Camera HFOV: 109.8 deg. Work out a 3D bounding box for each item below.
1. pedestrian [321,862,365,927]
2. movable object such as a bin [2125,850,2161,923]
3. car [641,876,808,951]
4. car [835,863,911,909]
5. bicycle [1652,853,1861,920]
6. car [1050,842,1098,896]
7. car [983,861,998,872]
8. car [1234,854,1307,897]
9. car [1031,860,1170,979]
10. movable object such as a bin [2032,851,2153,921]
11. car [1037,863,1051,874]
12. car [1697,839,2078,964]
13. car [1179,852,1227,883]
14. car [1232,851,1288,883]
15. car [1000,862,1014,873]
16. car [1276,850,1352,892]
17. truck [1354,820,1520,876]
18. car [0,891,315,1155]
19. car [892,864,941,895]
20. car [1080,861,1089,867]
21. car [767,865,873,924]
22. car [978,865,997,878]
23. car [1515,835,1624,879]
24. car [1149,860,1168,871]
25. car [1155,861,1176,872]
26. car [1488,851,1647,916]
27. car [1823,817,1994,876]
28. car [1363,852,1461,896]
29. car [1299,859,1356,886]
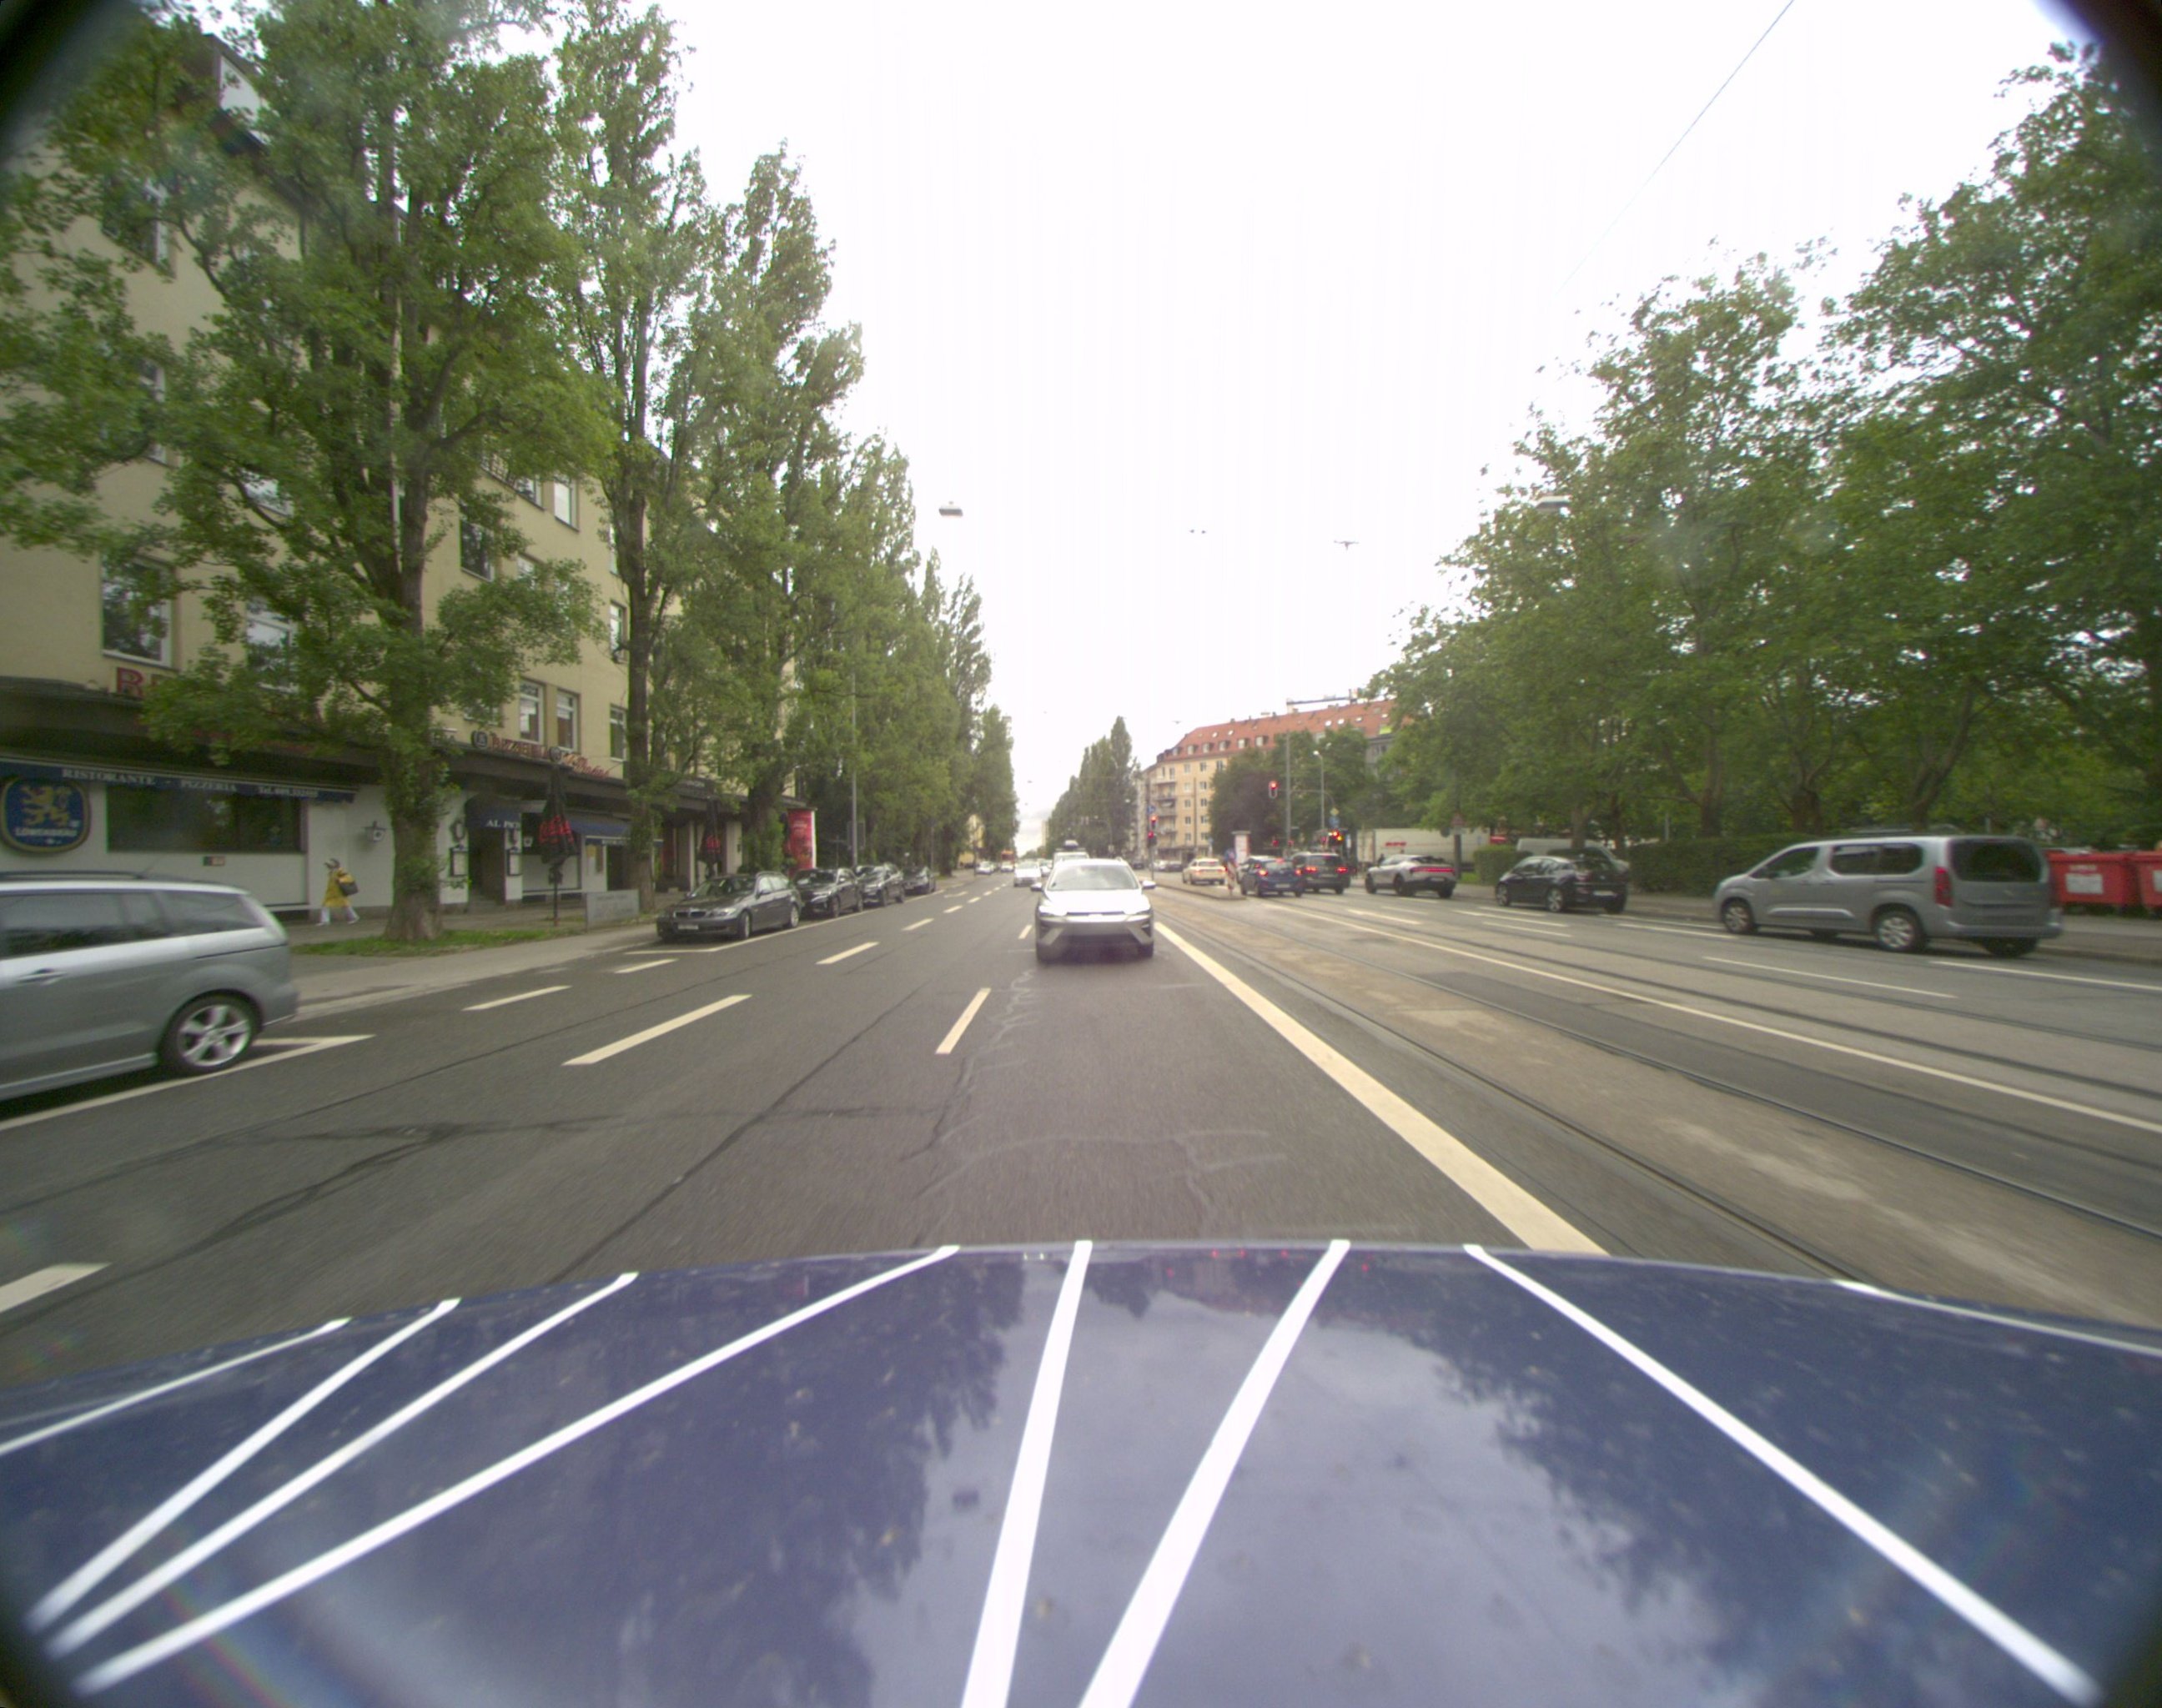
[{"bbox_3d":[-17.829,0.976,18.366,0.574,1.552,0.496,-1,-2,1],"label":"pedestrian"},{"bbox_3d":[20.881,0.613,14.214,0.937,1.345,1.277,-2,0,-4],"label":"movable object such as a bin"},{"bbox_3d":[-7.963,1.267,17.487,1.804,1.390,4.381,0,0,-1],"label":"car"},{"bbox_3d":[-7.886,1.168,29.275,1.725,1.603,4.470,0,0,-1],"label":"car"},{"bbox_3d":[16.671,0.800,19.059,1.529,1.458,4.000,-1,-2,-3],"label":"bicycle"},{"bbox_3d":[-0.259,0.666,35.303,1.912,2.337,4.946,0,0,3],"label":"car"},{"bbox_3d":[-12.082,1.639,101.437,1.786,1.477,4.138,-1,0,-4],"label":"car"},{"bbox_3d":[7.251,0.783,29.489,1.804,1.514,4.354,0,0,1],"label":"car"},{"bbox_3d":[0.363,0.906,11.863,1.774,1.515,4.211,-1,-2,3],"label":"car"},{"bbox_3d":[20.767,0.640,15.637,0.937,1.345,1.128,-4,0,-4],"label":"movable object such as a bin"},{"bbox_3d":[-5.779,2.265,118.231,1.858,1.673,3.999,-1,-2,-5],"label":"car"},{"bbox_3d":[13.236,0.684,13.004,1.804,1.769,4.473,0,0,1],"label":"car"},{"bbox_3d":[6.881,0.736,43.354,1.827,1.628,4.890,0,0,-1],"label":"car"},{"bbox_3d":[9.917,0.710,42.495,1.920,1.673,4.890,0,0,-1],"label":"car"},{"bbox_3d":[-10.625,1.937,109.139,1.786,1.477,4.138,-1,0,-4],"label":"car"},{"bbox_3d":[9.936,0.708,32.826,1.826,1.673,4.891,0,0,0],"label":"car"},{"bbox_3d":[26.832,-0.423,57.447,11.714,3.957,2.746,1,0,-7],"label":"truck"},{"bbox_3d":[-7.798,1.124,4.561,1.804,1.603,4.547,0,0,-1],"label":"car"},{"bbox_3d":[-8.224,1.241,38.384,1.804,1.457,3.999,-1,0,-4],"label":"car"},{"bbox_3d":[0.941,2.713,200.318,1.818,1.460,3.999,-1,-2,-7],"label":"car"},{"bbox_3d":[-7.918,1.159,23.498,1.804,1.603,4.305,0,0,-1],"label":"car"},{"bbox_3d":[-11.085,2.074,90.460,1.785,1.477,4.352,-1,0,-1],"label":"car"},{"bbox_3d":[26.632,0.130,41.508,4.612,2.002,2.005,6,3,41],"label":"car"},{"bbox_3d":[10.209,1.496,100.797,1.730,1.399,4.373,0,0,-5],"label":"car"},{"bbox_3d":[10.603,1.545,95.421,1.730,1.399,4.373,0,0,-5],"label":"car"},{"bbox_3d":[13.694,0.764,21.730,1.804,1.657,4.355,0,0,1],"label":"car"},{"bbox_3d":[39.551,-0.244,36.629,1.998,2.519,5.867,-1,-2,3],"label":"car"},{"bbox_3d":[13.197,0.763,30.654,1.804,1.633,4.999,0,0,1],"label":"car"},{"bbox_3d":[13.502,0.999,41.812,1.826,1.373,4.099,0,0,0],"label":"car"}]
